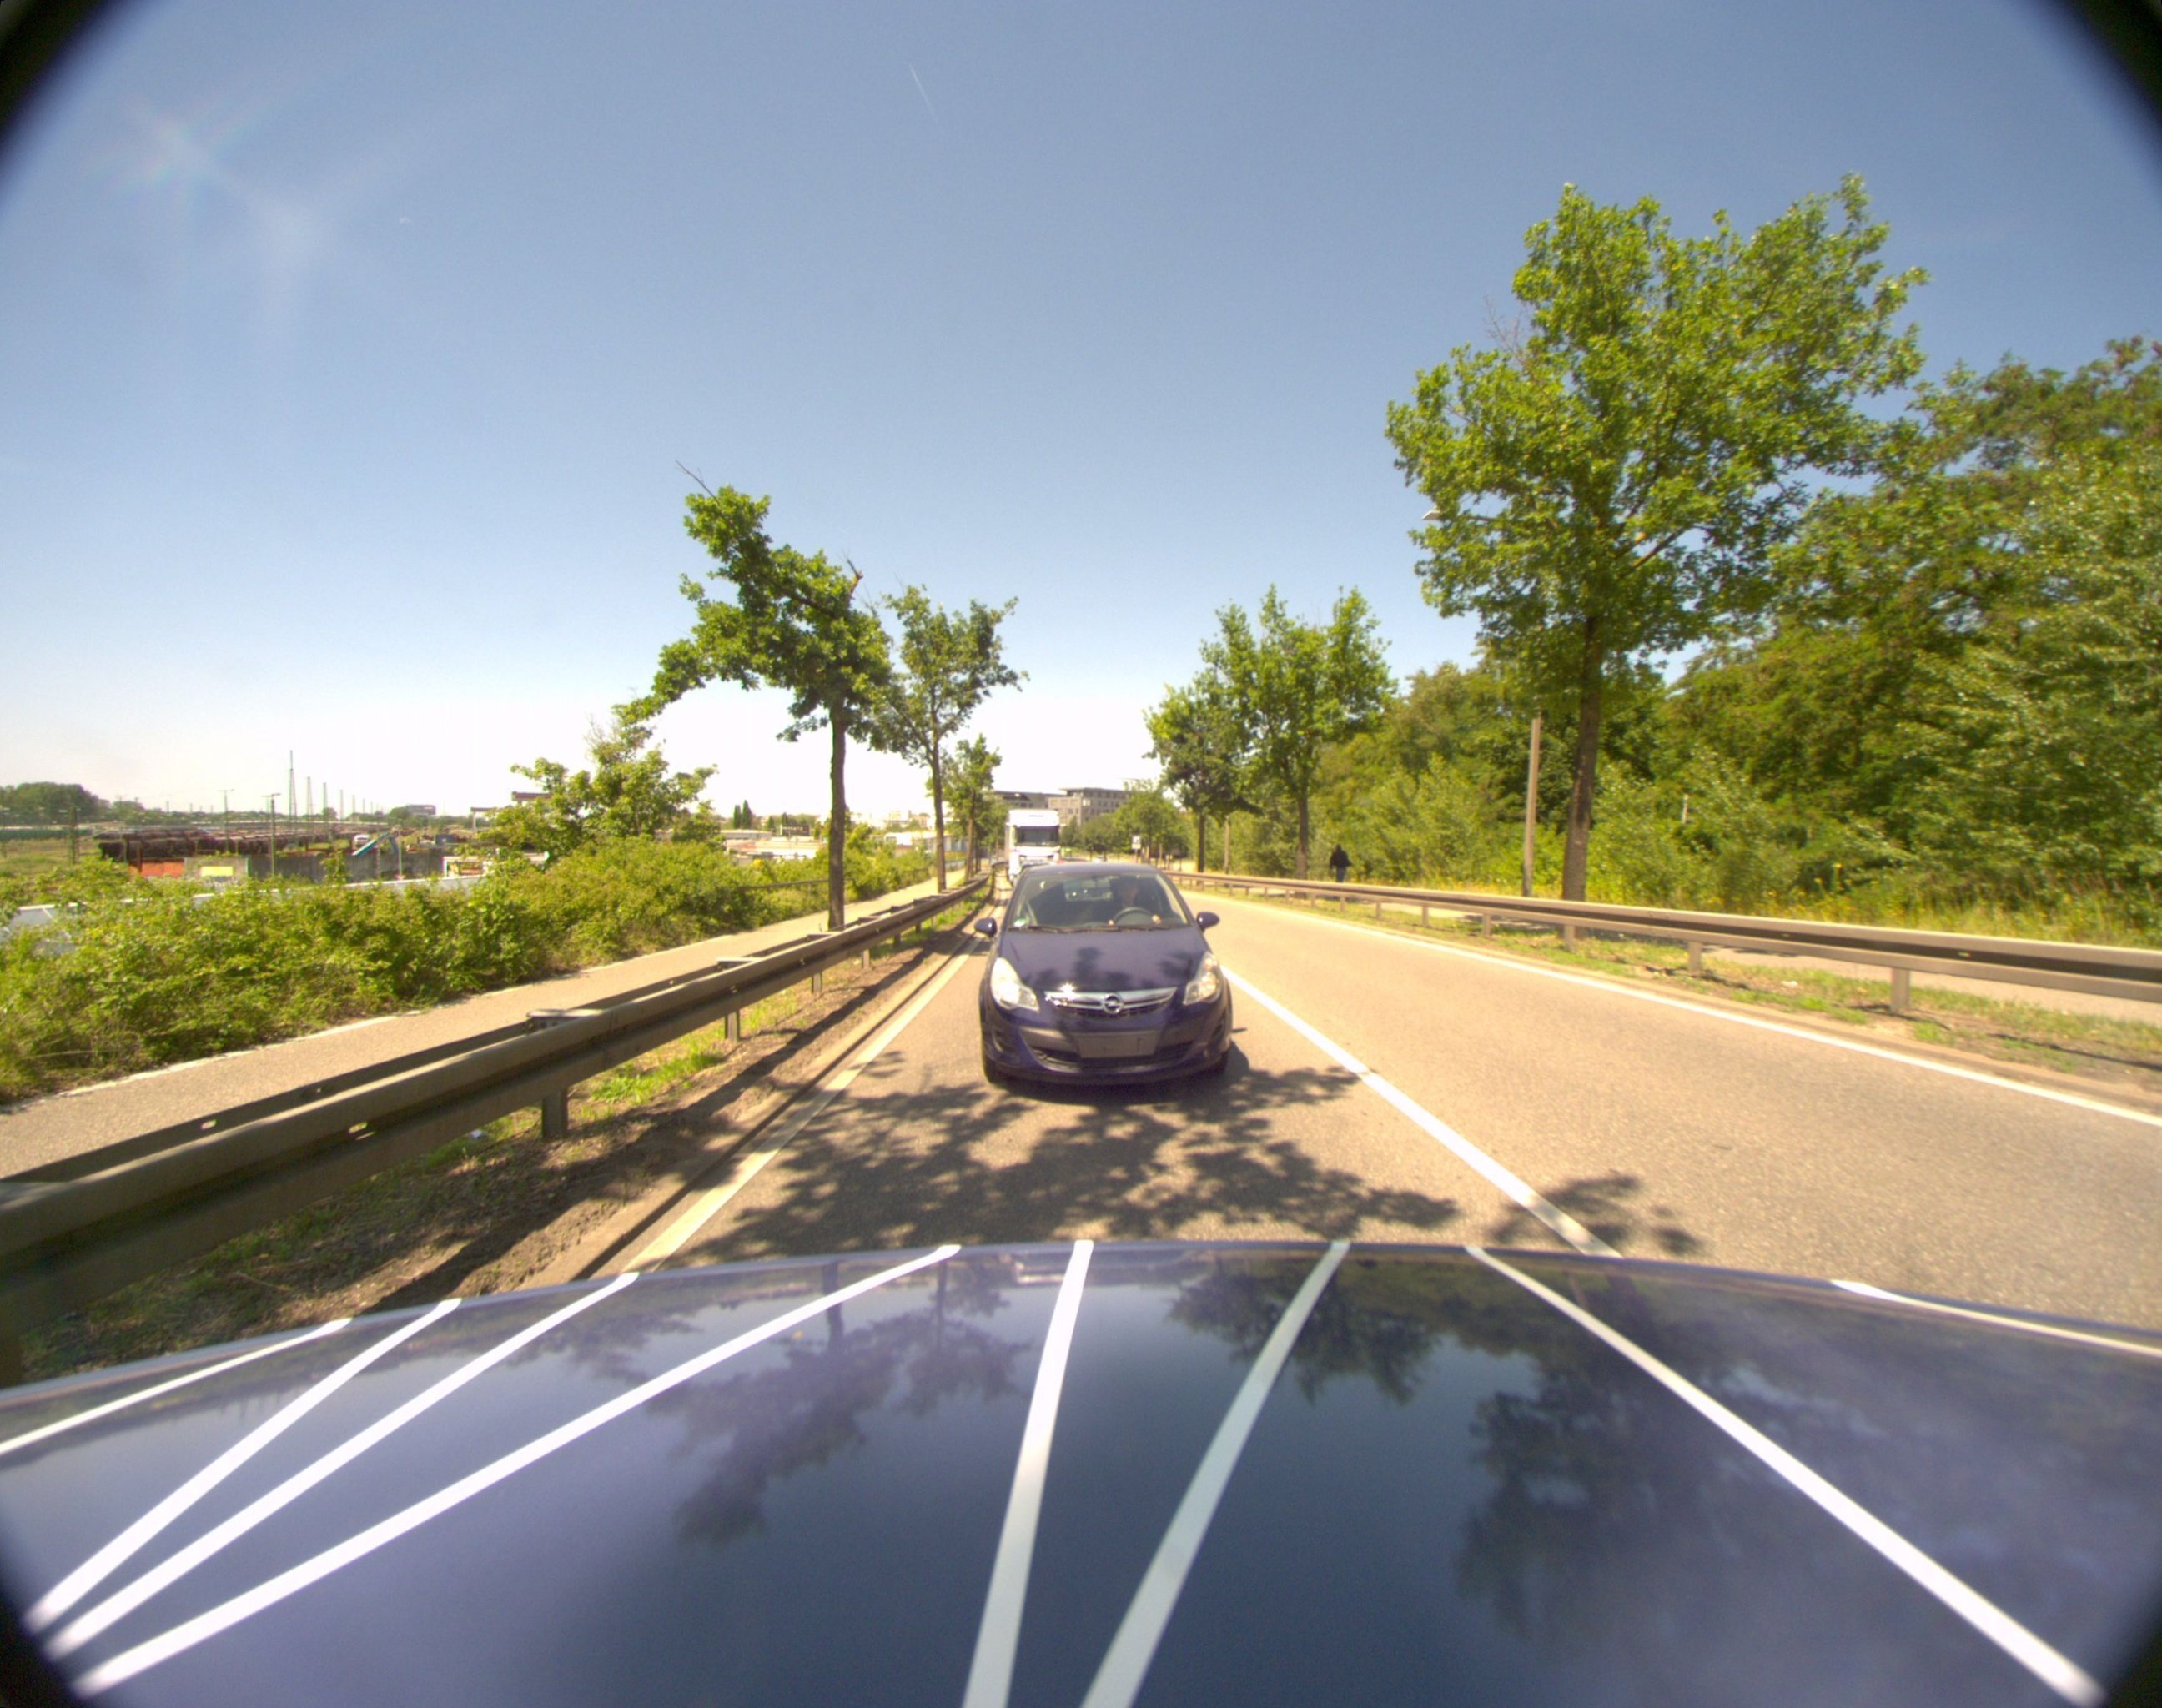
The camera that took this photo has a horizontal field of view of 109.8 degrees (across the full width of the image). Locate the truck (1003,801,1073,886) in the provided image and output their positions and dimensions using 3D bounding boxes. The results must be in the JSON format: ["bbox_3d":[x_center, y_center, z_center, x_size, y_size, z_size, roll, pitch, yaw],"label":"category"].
[{"bbox_3d":[-2.967,-0.571,45.926,3.072,4.146,16.899,-2,1,-7],"label":"truck"}]

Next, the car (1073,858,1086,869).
[{"bbox_3d":[-0.262,1.732,141.454,1.778,2.002,4.003,-2,1,11],"label":"car"}]

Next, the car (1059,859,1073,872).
[{"bbox_3d":[-2.455,1.930,126.614,1.779,2.002,4.001,-2,1,6],"label":"car"}]

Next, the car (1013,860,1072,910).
[{"bbox_3d":[-1.258,0.973,25.321,1.780,1.398,3.999,-2,1,-2],"label":"car"}]

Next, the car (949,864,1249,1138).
[{"bbox_3d":[0.011,0.882,6.360,1.720,1.455,3.836,-2,1,-3],"label":"car"}]

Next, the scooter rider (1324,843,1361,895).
[{"bbox_3d":[8.523,0.472,24.822,0.779,1.648,1.120,-2,1,0],"label":"scooter rider"}]

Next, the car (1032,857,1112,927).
[{"bbox_3d":[-0.241,0.870,19.173,1.780,1.498,3.895,-2,1,-1],"label":"car"}]

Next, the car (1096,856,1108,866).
[{"bbox_3d":[4.313,1.453,157.349,1.778,2.002,4.003,-2,1,11],"label":"car"}]

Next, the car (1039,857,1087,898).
[{"bbox_3d":[-0.851,0.961,32.855,1.781,1.569,3.998,-2,1,-5],"label":"car"}]

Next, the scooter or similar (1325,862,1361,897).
[{"bbox_3d":[8.546,0.811,24.835,0.779,1.085,1.095,-2,1,-1],"label":"scooter or similar"}]
